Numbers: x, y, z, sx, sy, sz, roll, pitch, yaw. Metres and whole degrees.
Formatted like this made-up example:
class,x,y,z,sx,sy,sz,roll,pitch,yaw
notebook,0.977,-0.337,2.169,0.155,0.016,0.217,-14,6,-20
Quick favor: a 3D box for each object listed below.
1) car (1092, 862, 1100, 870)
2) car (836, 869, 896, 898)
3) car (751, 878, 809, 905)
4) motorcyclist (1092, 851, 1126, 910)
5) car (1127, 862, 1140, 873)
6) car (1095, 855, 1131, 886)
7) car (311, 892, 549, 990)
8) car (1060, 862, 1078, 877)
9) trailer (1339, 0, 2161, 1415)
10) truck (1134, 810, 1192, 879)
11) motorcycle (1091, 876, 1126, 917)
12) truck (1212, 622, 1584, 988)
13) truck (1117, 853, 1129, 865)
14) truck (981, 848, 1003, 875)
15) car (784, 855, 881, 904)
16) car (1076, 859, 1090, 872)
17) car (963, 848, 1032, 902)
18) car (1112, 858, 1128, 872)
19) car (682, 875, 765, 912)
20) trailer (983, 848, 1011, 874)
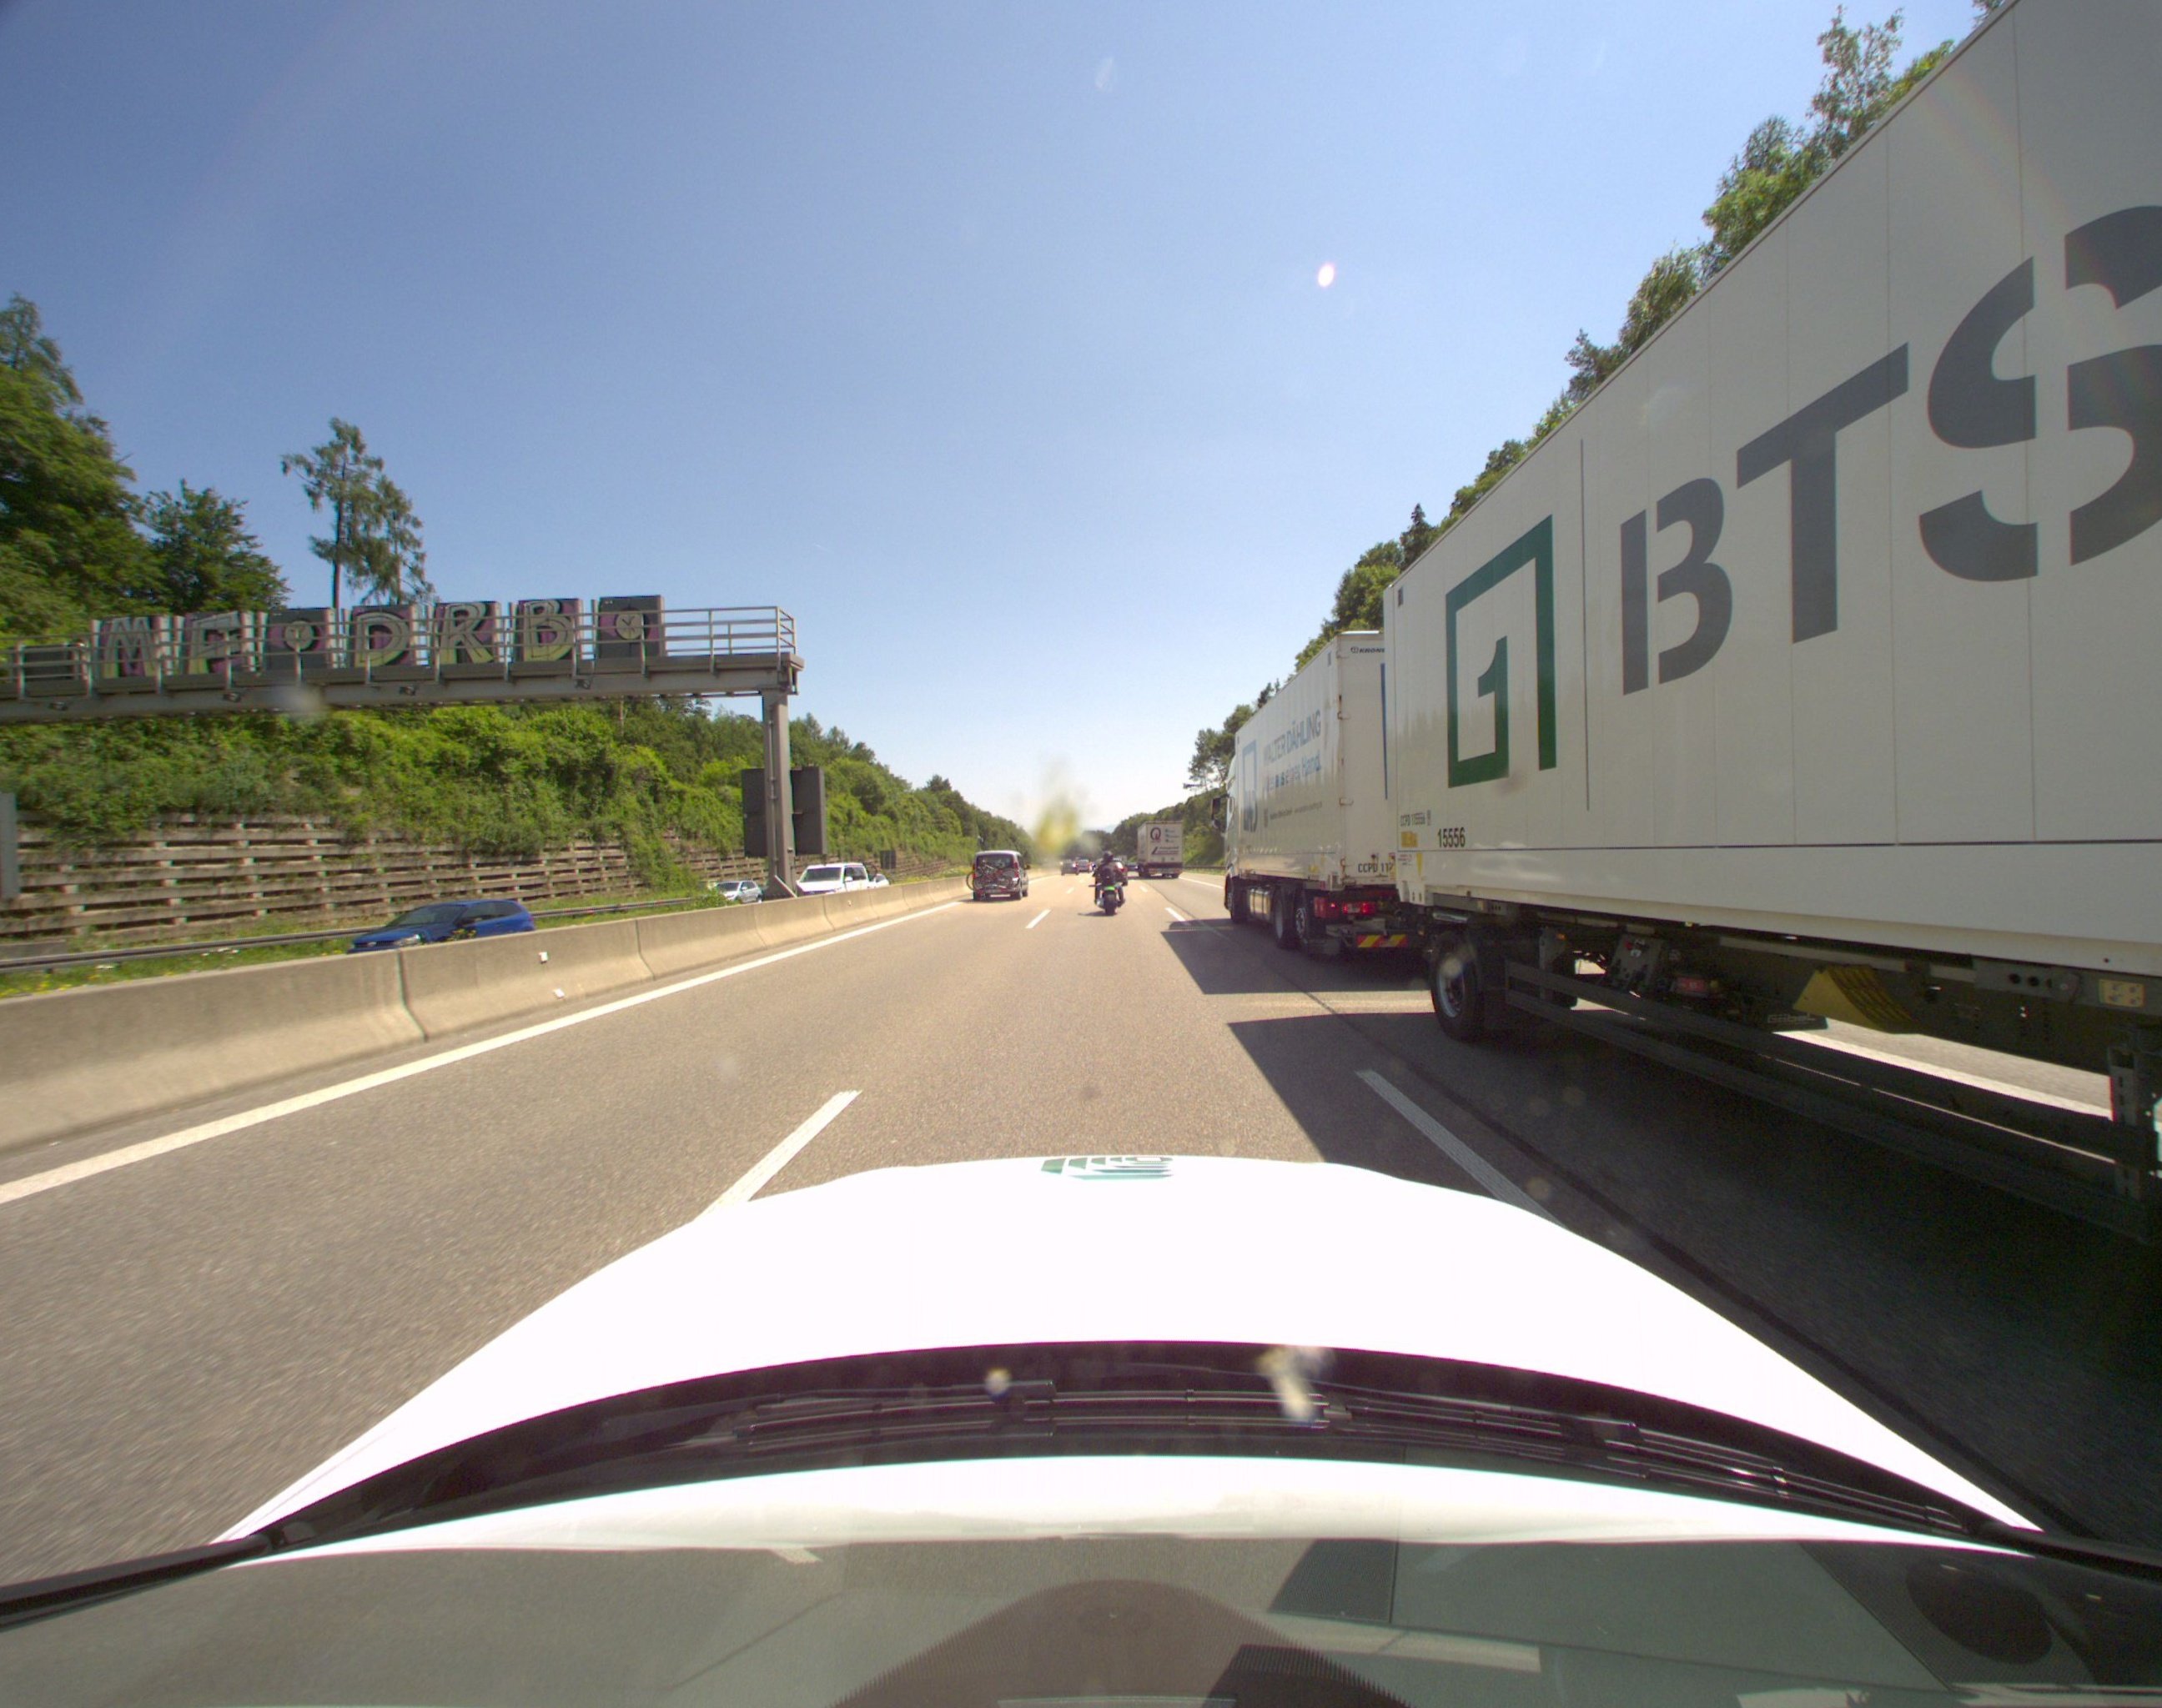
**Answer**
class,x,y,z,sx,sy,sz,roll,pitch,yaw
car,3.280,2.595,177.544,1.824,1.810,4.121,-1,0,1
car,-13.196,1.774,50.367,1.954,1.495,5.887,-3,0,1
car,-19.900,2.469,54.037,1.891,1.495,4.480,-3,0,2
motorcyclist,0.739,0.683,21.515,0.852,1.515,0.914,-1,-1,2
car,7.714,2.019,119.721,1.824,1.527,4.028,-1,0,1
car,1.708,0.882,44.490,1.839,1.557,4.441,-1,0,1
car,-14.028,1.791,17.924,1.701,1.605,4.200,-3,0,1
car,-1.285,1.680,88.496,1.751,1.544,4.396,-1,0,1
trailer,4.083,-0.689,3.945,2.670,4.176,10.068,-1,0,2
truck,6.193,-0.649,64.611,3.370,4.718,17.715,0,0,2
motorcycle,0.749,1.086,21.554,0.859,0.982,2.132,-1,-1,3
truck,4.396,-0.538,14.432,2.670,4.059,10.629,-1,0,2
truck,11.114,1.308,218.040,3.056,3.346,9.655,0,0,2
truck,-14.096,1.157,129.528,2.670,4.030,5.933,-2,0,1
car,-10.024,0.969,33.459,1.990,1.687,5.996,-3,0,1
car,0.344,1.625,116.406,1.824,1.810,4.121,-1,0,1
car,-3.069,0.763,31.039,1.891,1.848,5.484,-1,-1,1
car,4.518,1.239,94.663,1.824,1.558,4.121,-1,0,1
car,-17.468,1.891,40.019,1.891,1.526,4.375,-3,0,2
trailer,-13.929,1.167,136.272,2.670,4.015,14.192,-2,0,1
